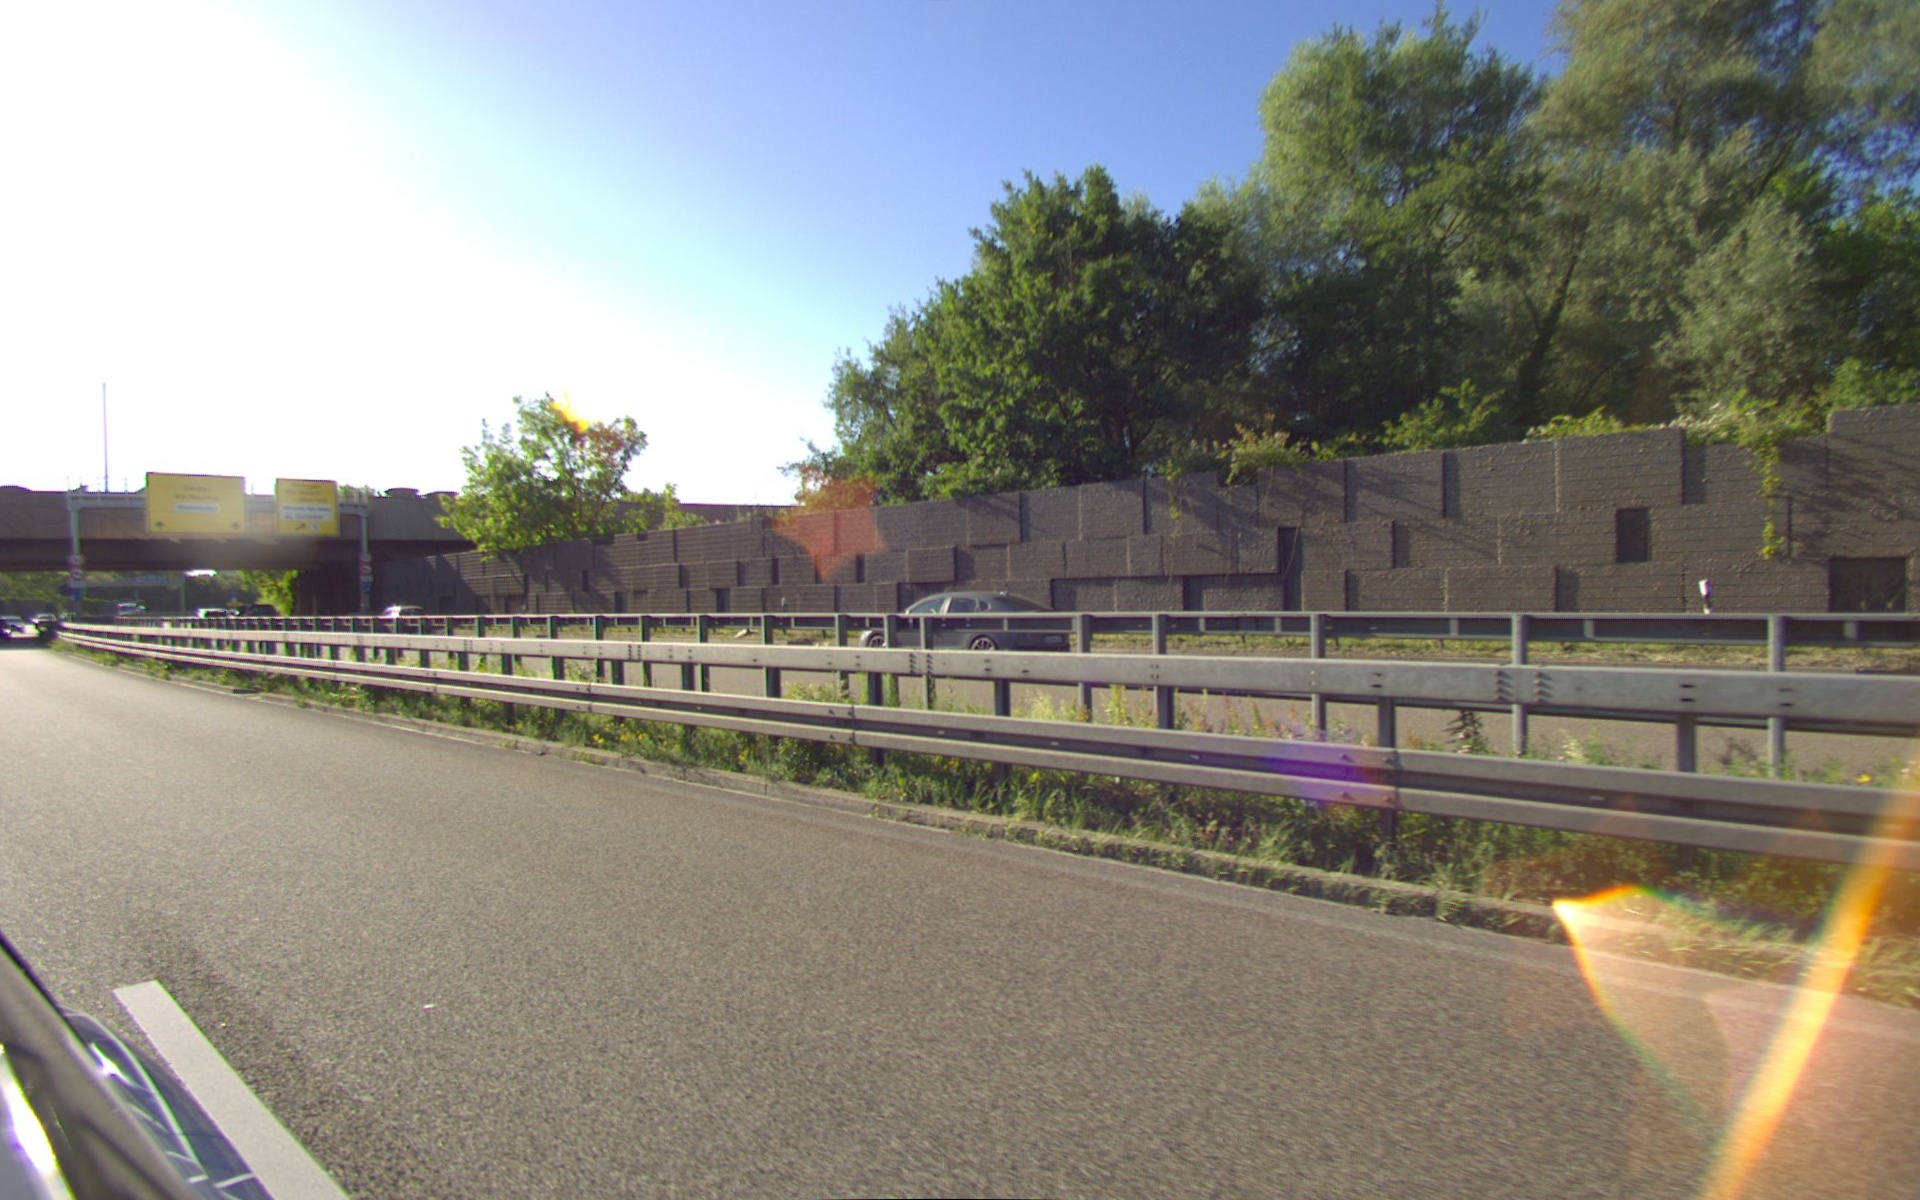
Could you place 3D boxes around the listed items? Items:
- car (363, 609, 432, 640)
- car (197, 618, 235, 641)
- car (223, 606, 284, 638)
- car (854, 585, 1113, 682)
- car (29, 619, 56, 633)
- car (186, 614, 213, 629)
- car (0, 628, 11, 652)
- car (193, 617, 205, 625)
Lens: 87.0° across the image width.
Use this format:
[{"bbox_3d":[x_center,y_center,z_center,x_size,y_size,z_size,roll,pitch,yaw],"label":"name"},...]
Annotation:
[{"bbox_3d":[-27.785,1.209,49.966,4.136,1.432,1.876,-2,-1,44],"label":"car"},{"bbox_3d":[-55.781,2.242,75.851,4.397,1.585,1.529,-2,2,44],"label":"car"},{"bbox_3d":[-40.203,1.267,57.538,4.809,1.585,1.877,-2,2,44],"label":"car"},{"bbox_3d":[0.339,0.596,18.664,4.532,1.491,1.973,-2,2,41],"label":"car"},{"bbox_3d":[-104.097,2.944,114.830,1.968,1.425,4.839,-3,1,-39],"label":"car"},{"bbox_3d":[-85.683,2.397,114.014,1.970,1.608,4.432,-2,0,-42],"label":"car"},{"bbox_3d":[-60.843,2.528,63.315,1.971,1.425,4.834,-3,1,-44],"label":"car"},{"bbox_3d":[-155.688,4.320,207.102,1.968,1.653,4.731,-3,1,-37],"label":"car"}]
